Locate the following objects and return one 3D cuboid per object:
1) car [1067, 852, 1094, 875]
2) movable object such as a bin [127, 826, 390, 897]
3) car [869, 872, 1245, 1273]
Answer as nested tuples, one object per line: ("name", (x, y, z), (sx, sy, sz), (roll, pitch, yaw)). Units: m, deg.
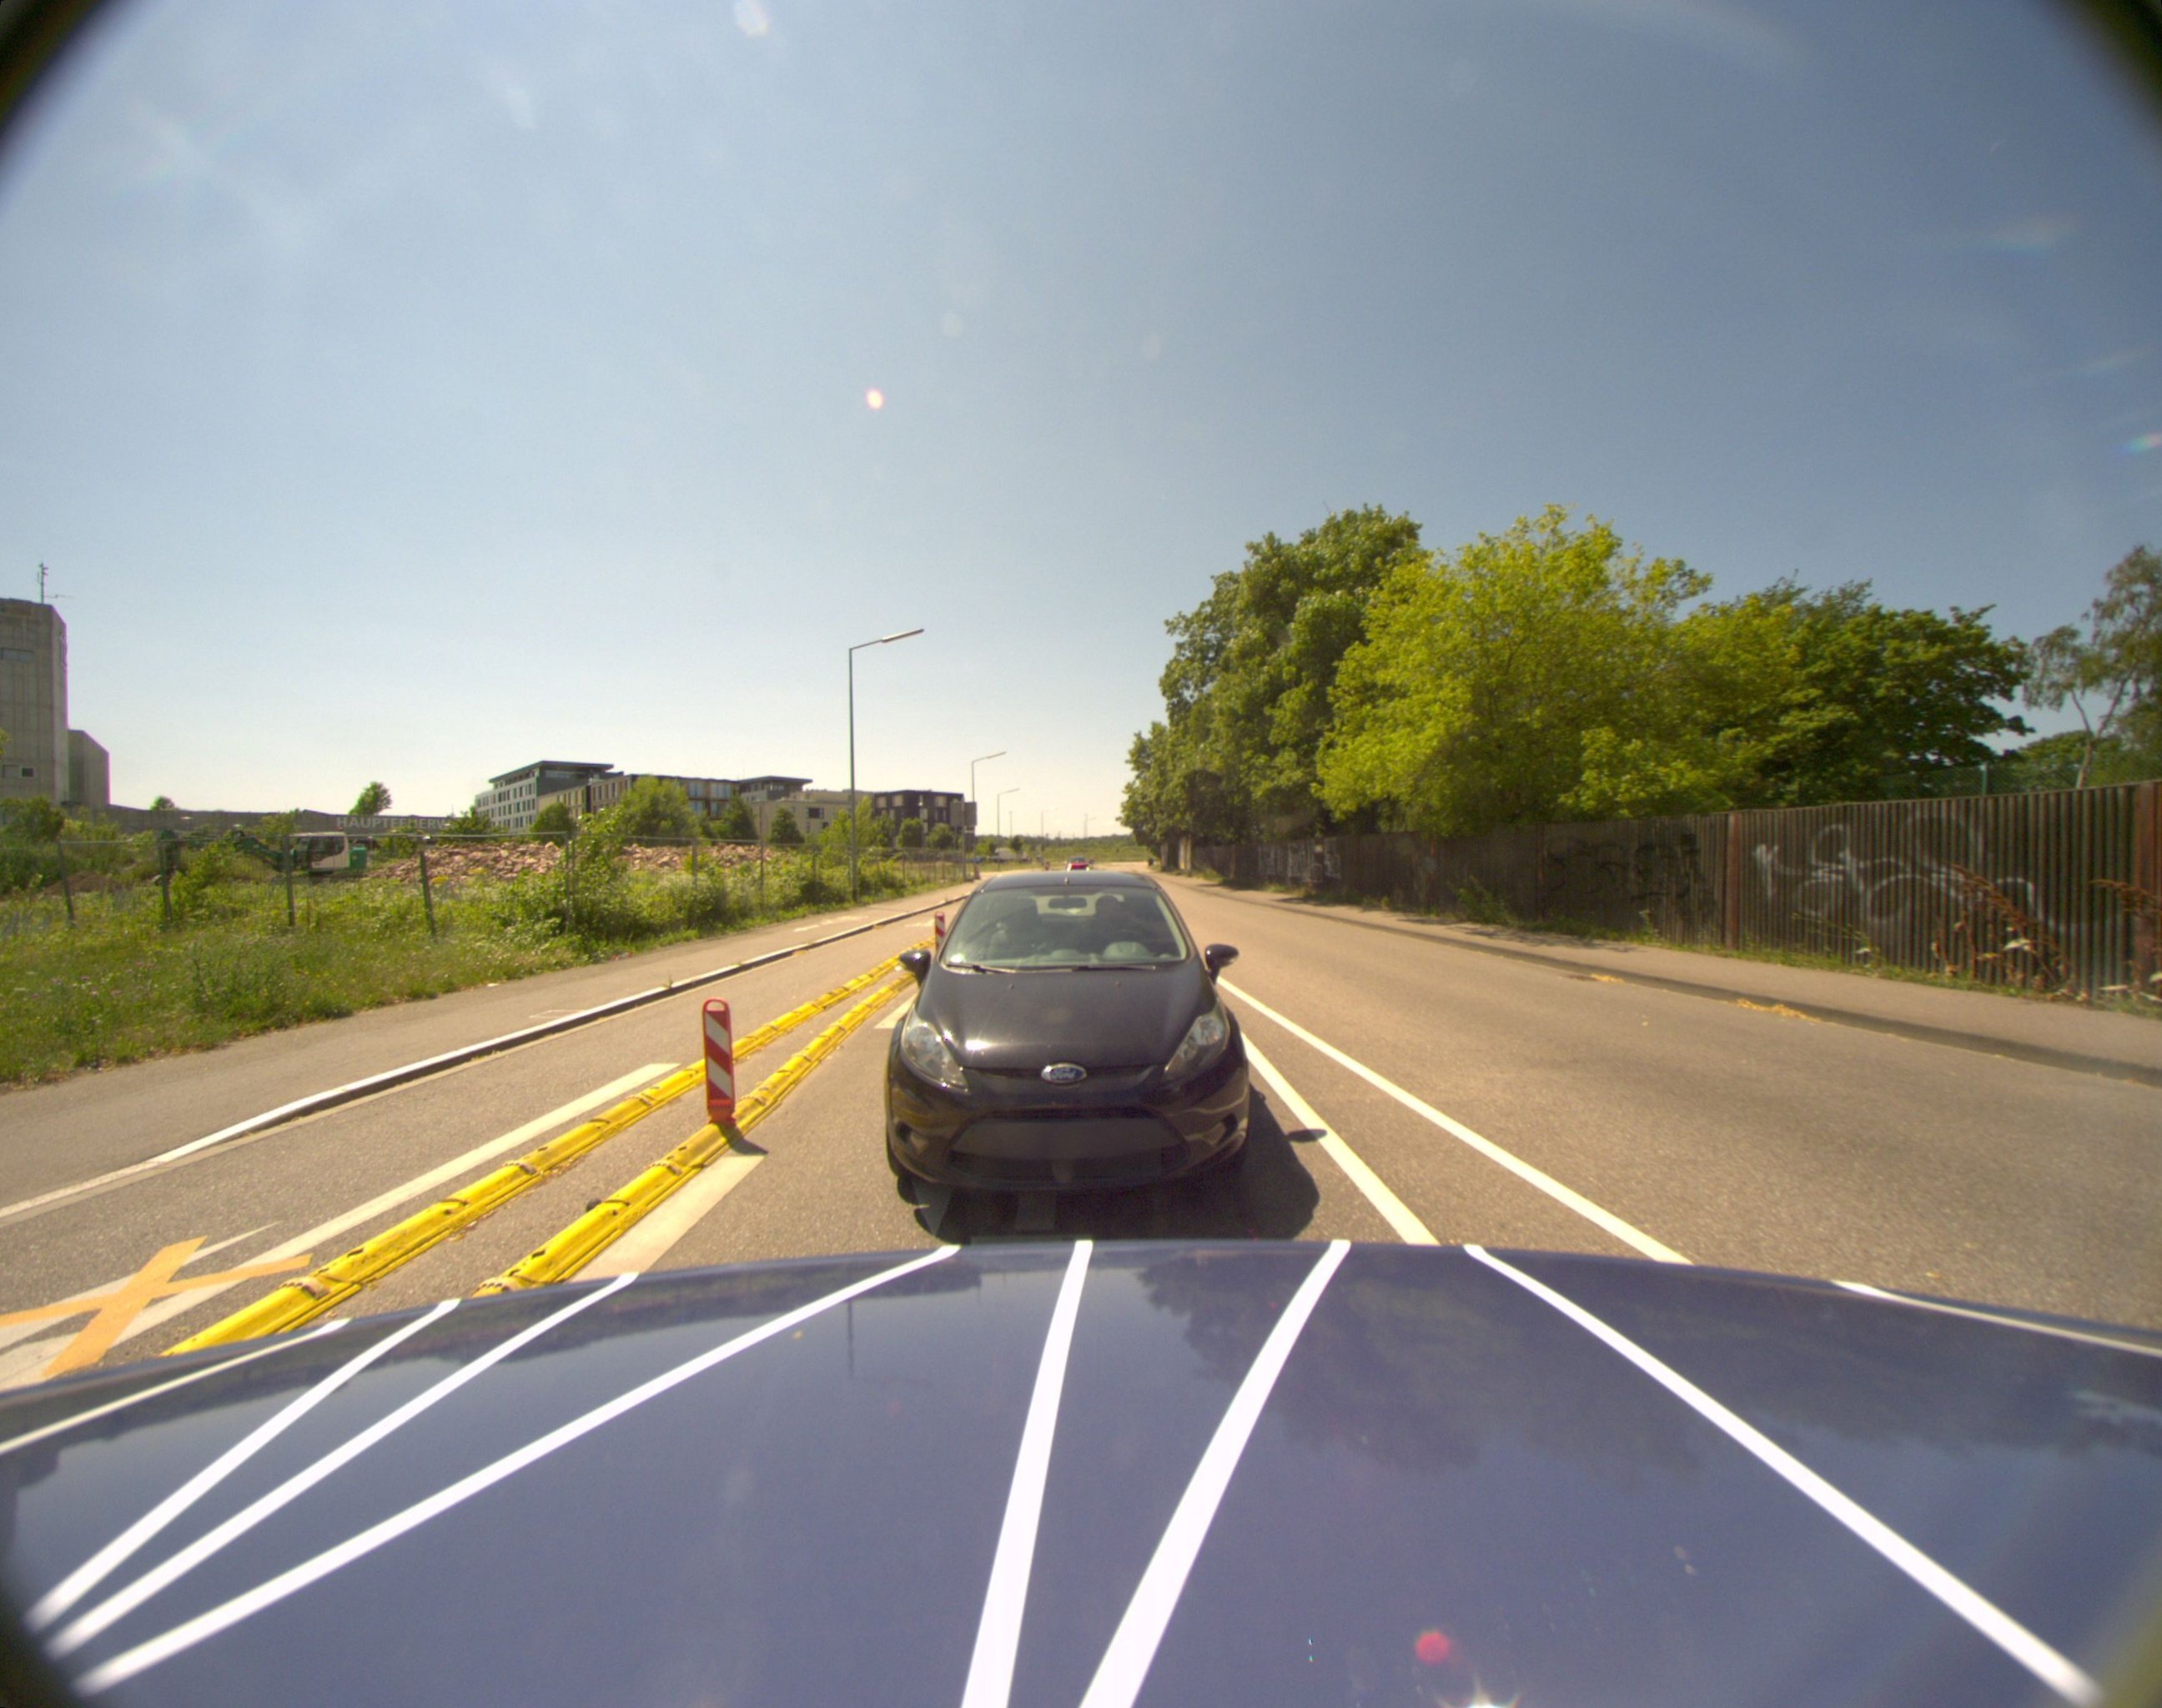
("car", (-0.036, 0.704, 58.522), (1.924, 1.643, 4.668), (-2, 1, 1))
("movable object such as a bin", (-38.344, 0.254, 35.956), (3.231, 2.899, 7.702), (-2, 1, 15))
("car", (-0.071, 0.972, 5.204), (1.528, 1.510, 3.999), (-2, 1, 1))
